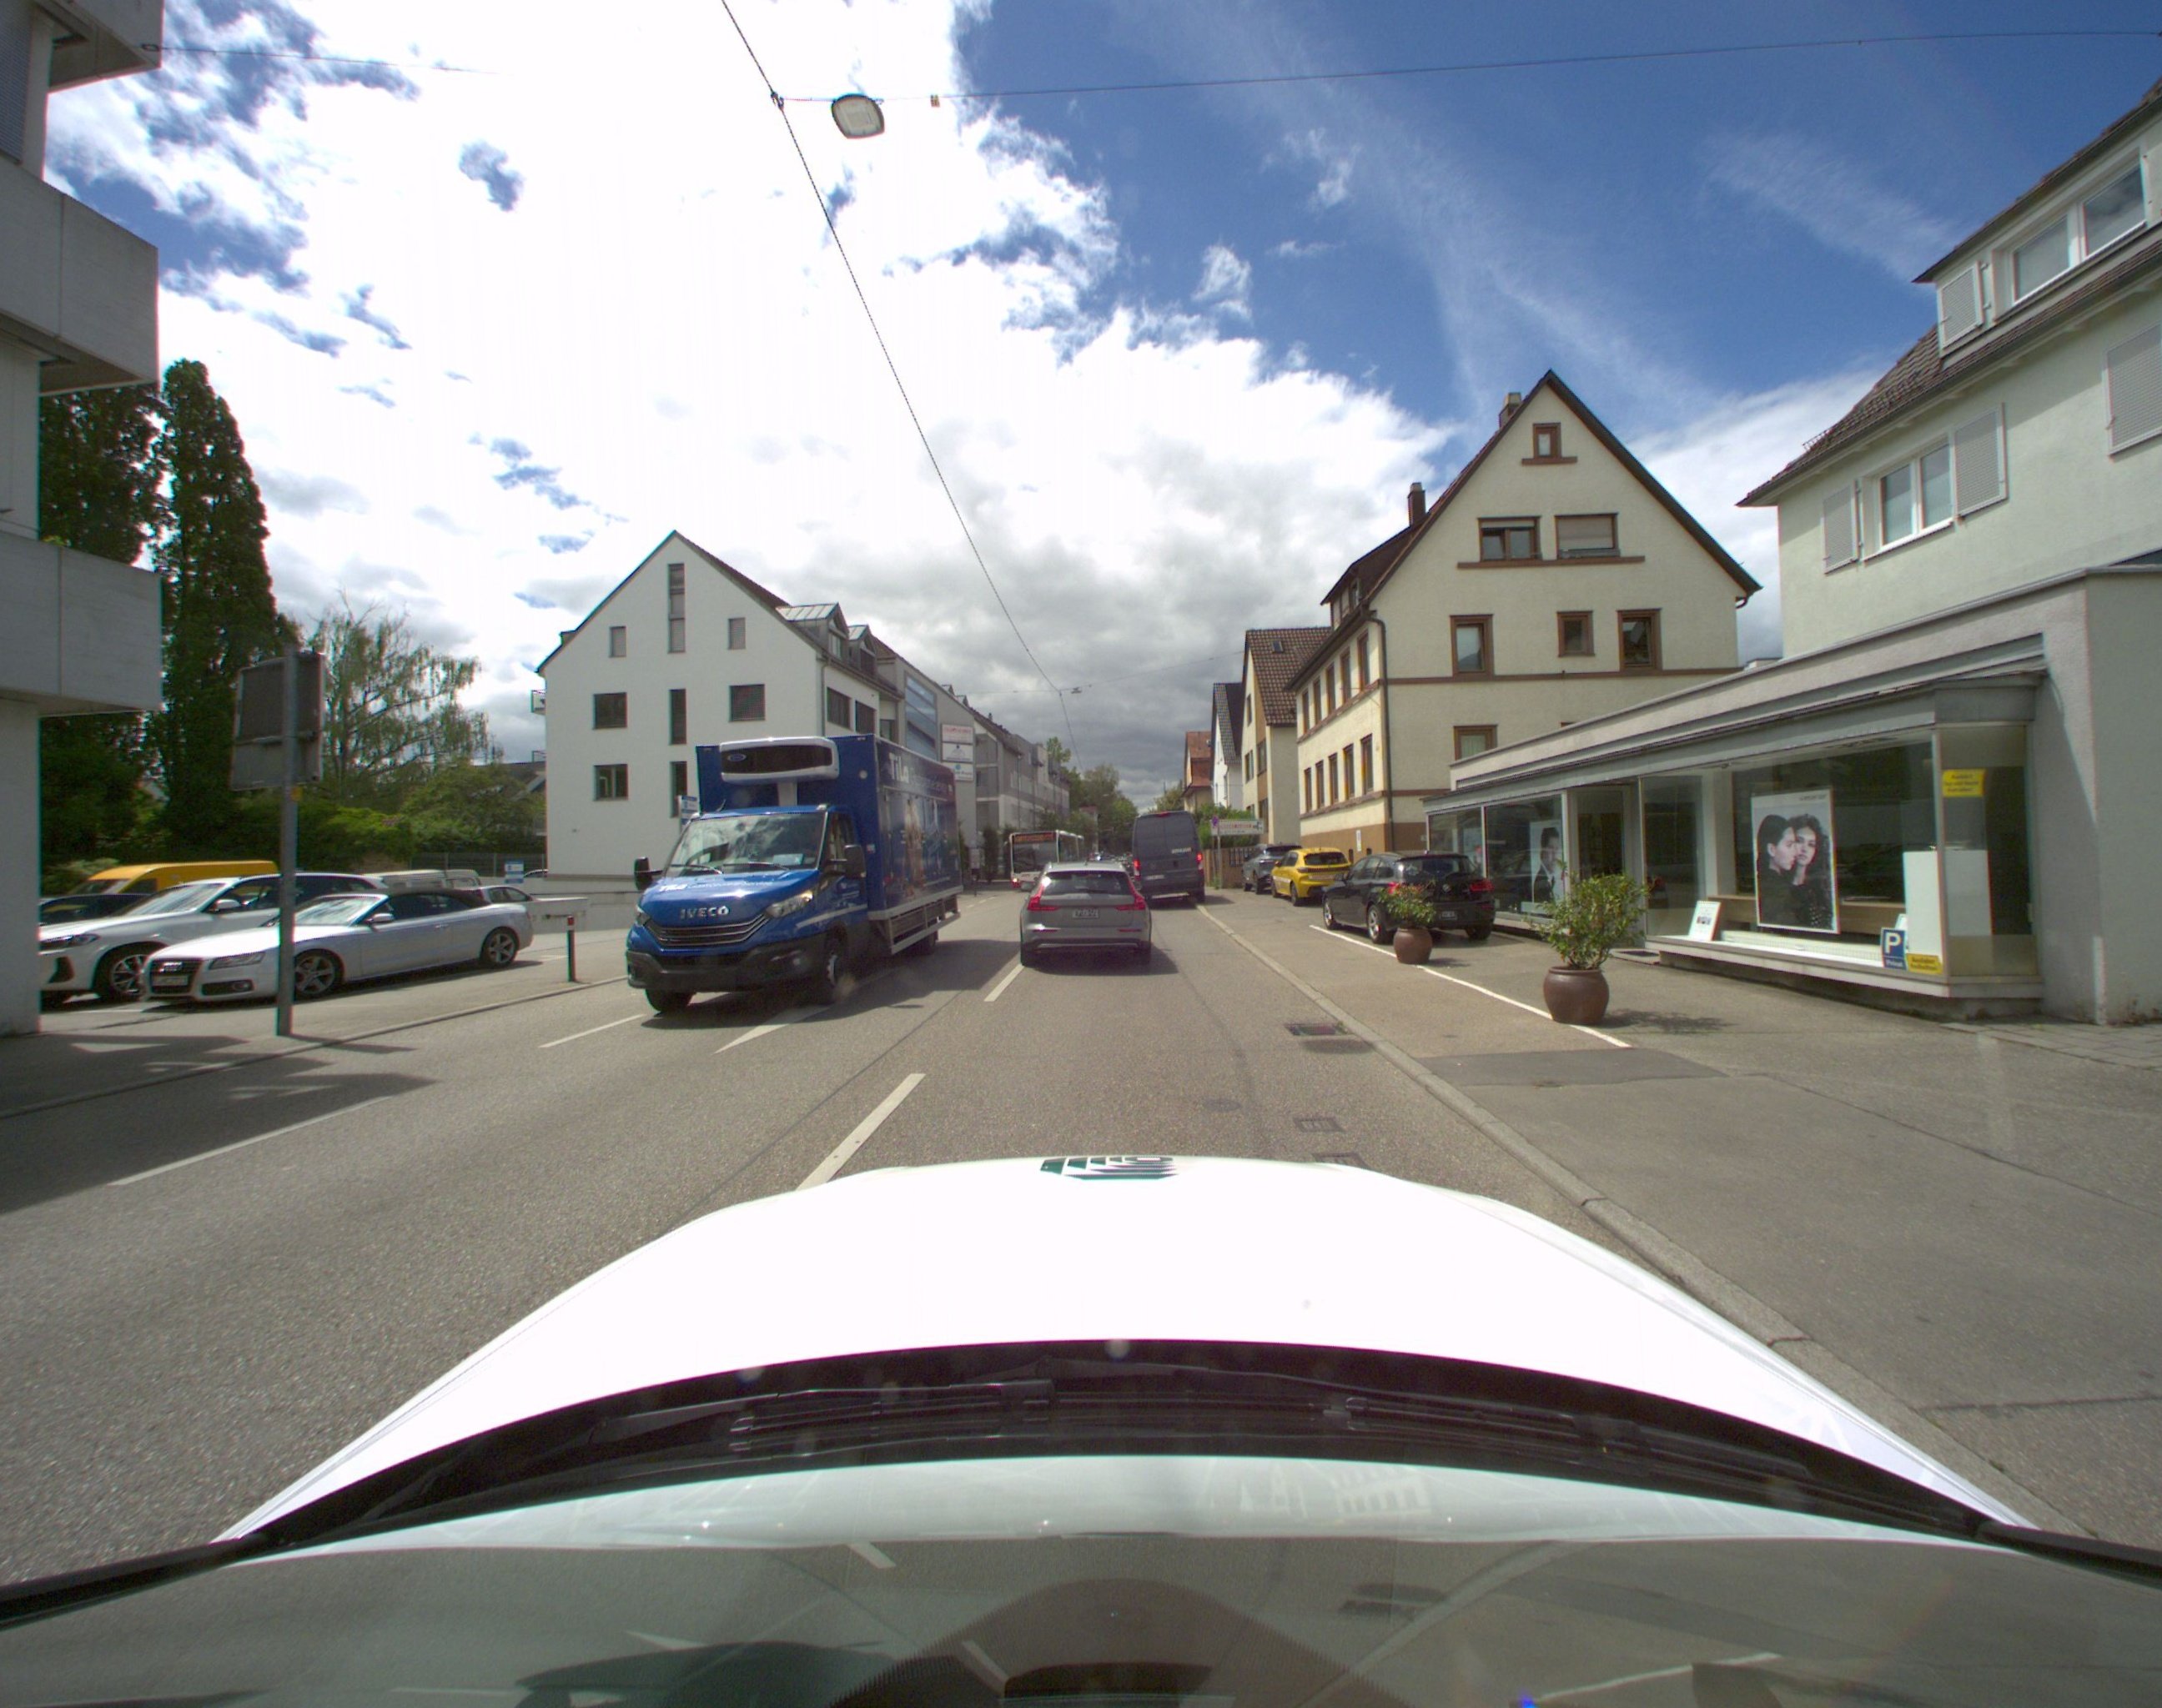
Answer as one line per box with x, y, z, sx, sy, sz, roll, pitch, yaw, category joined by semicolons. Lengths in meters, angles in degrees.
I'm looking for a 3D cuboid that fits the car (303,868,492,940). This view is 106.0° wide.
-21.873;1.532;26.365;1.828;1.989;4.657;-2;0;7;car

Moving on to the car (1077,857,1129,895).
0.982;0.888;33.891;1.887;1.446;3.974;-1;0;5;car

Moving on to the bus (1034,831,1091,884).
-1.094;0.222;53.969;2.703;3.163;8.080;-2;0;5;bus

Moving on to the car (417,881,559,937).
-19.162;1.730;26.537;1.805;1.529;3.757;-2;0;1;car

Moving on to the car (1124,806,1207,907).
2.687;0.088;25.915;2.241;2.795;5.578;-2;0;6;car

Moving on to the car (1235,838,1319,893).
6.466;0.346;27.395;1.853;1.612;4.589;-3;0;3;car

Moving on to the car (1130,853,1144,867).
8.589;0.873;125.423;1.984;2.013;4.006;-2;0;5;car

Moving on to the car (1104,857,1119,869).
4.386;1.255;116.812;2.097;1.709;4.769;-2;0;3;car

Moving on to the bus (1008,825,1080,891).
-1.824;0.212;44.814;2.670;3.163;10.195;-2;0;4;bus

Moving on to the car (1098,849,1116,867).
3.460;0.493;106.317;2.097;2.121;4.769;-4;0;3;car

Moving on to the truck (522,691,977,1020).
-3.753;0.039;11.937;2.841;3.093;8.096;-2;0;3;truck

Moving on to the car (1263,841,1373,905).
6.436;0.440;22.598;1.870;1.447;4.309;-2;2;1;car

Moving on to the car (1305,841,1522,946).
5.465;0.575;14.118;1.961;1.447;4.537;-2;0;1;car

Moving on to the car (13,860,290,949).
-31.035;1.553;27.605;2.051;2.530;5.988;-4;-1;6;car

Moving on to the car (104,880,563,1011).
-10.447;1.170;12.086;1.940;1.358;4.865;-2;0;7;car

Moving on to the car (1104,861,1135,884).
2.693;1.231;56.207;1.887;1.446;3.974;-1;0;5;car

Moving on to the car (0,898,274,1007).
-15.812;1.500;13.153;1.754;1.331;3.610;-2;0;5;car

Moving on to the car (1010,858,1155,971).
0.126;0.804;12.672;1.888;1.453;3.972;-1;0;3;car

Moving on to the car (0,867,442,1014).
-13.038;1.145;12.516;1.939;1.619;4.943;-4;0;10;car
